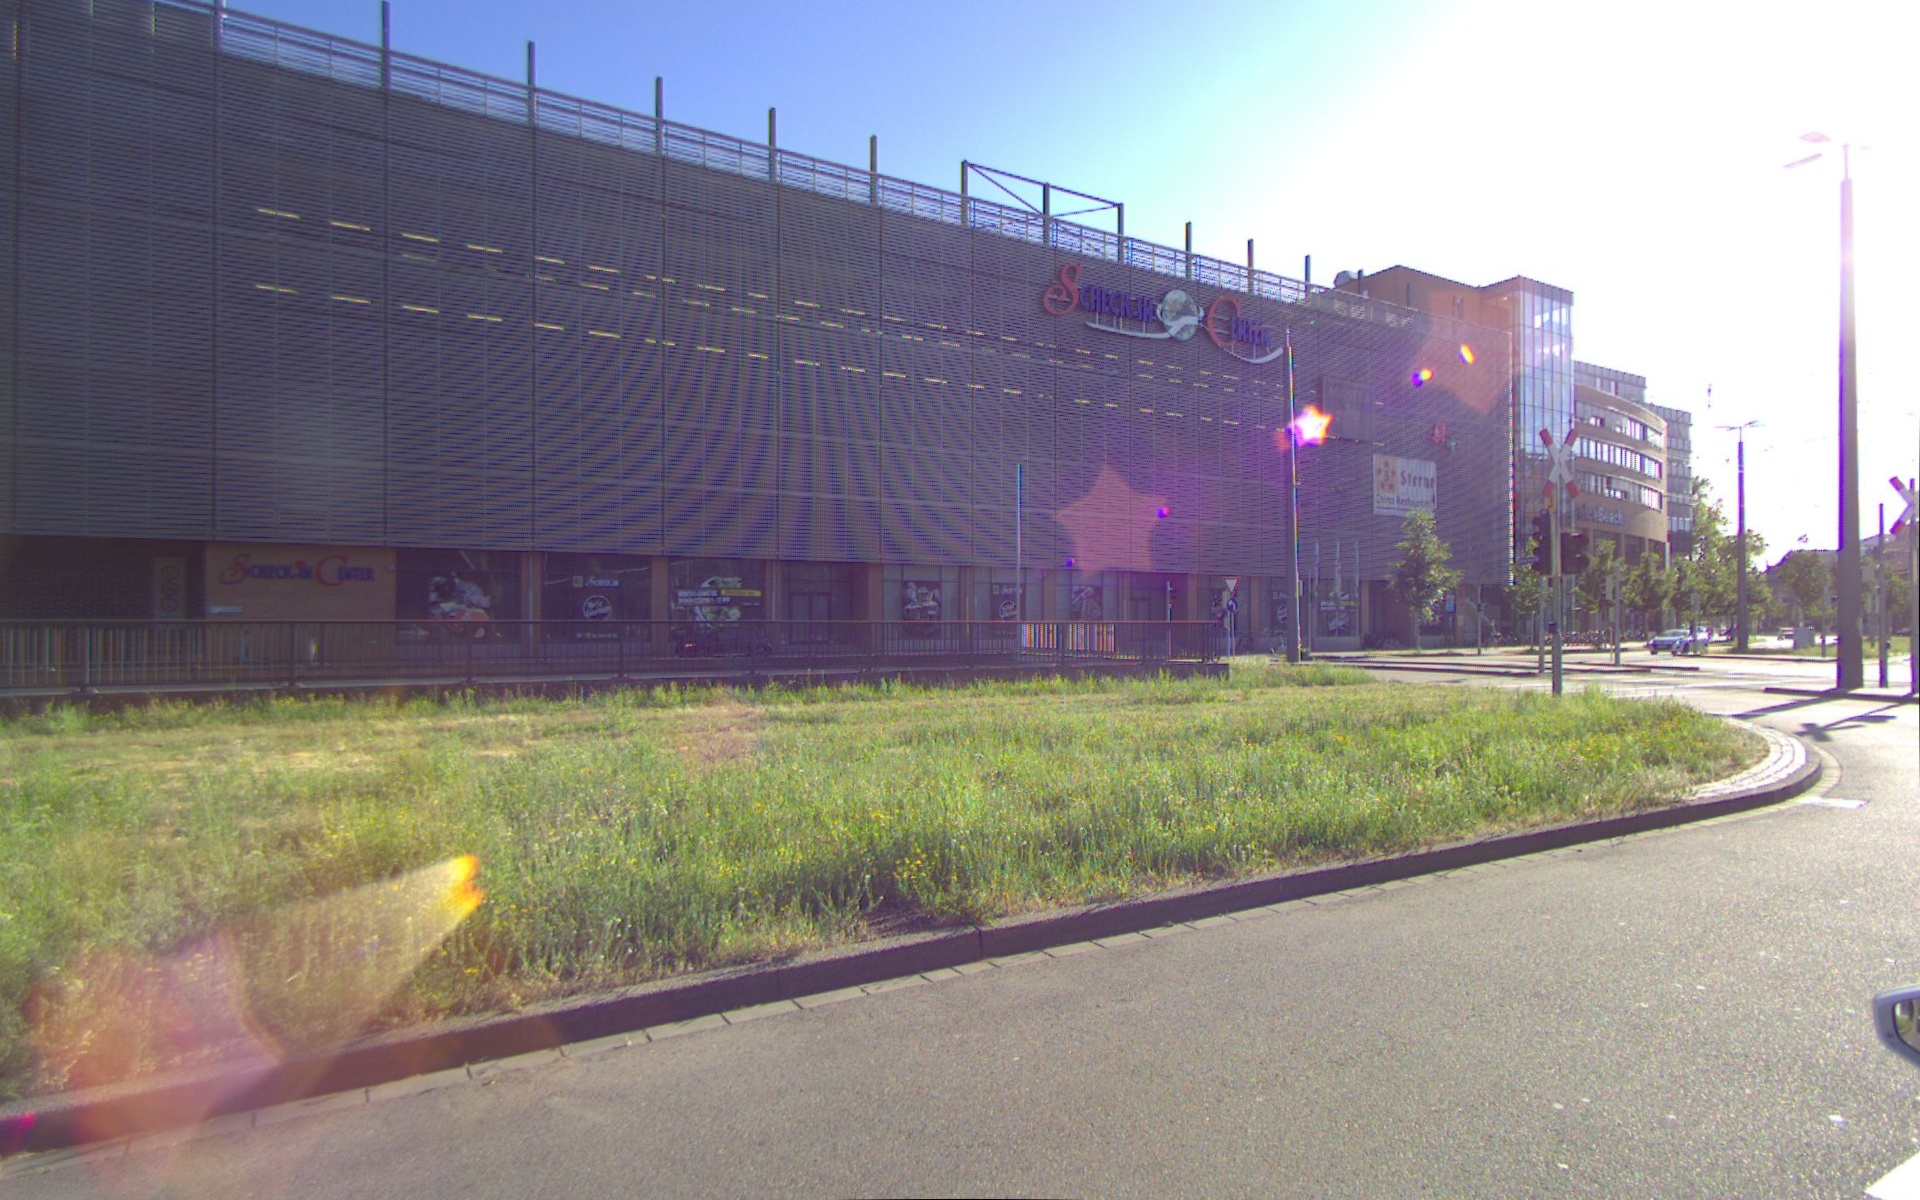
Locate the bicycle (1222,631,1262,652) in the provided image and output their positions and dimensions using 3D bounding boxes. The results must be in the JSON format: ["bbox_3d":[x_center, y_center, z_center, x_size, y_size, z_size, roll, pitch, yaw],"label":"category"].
[{"bbox_3d":[16.581,2.427,59.054,2.384,1.237,0.797,1,-1,-27],"label":"bicycle"}]

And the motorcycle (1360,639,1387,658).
[{"bbox_3d":[27.030,3.170,65.609,1.872,1.255,0.672,2,-3,-31],"label":"motorcycle"}]

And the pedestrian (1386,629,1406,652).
[{"bbox_3d":[30.773,2.861,70.897,0.819,1.586,0.983,2,-3,-30],"label":"pedestrian"}]

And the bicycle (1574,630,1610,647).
[{"bbox_3d":[53.101,3.238,84.455,0.891,1.452,2.558,1,-3,-21],"label":"bicycle"}]

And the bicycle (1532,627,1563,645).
[{"bbox_3d":[47.086,2.891,80.536,0.848,1.452,2.080,1,-2,-21],"label":"bicycle"}]

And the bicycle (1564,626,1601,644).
[{"bbox_3d":[51.383,2.924,82.977,0.891,1.452,2.558,1,-3,-21],"label":"bicycle"}]

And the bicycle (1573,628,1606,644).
[{"bbox_3d":[56.863,3.287,90.812,0.760,1.452,2.603,1,-3,-21],"label":"bicycle"}]

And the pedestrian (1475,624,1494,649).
[{"bbox_3d":[38.619,2.683,73.945,0.894,1.848,0.823,2,-3,-29],"label":"pedestrian"}]

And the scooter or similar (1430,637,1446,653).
[{"bbox_3d":[33.955,3.182,71.360,1.138,1.124,0.419,2,-3,-30],"label":"scooter or similar"}]

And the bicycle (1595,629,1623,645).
[{"bbox_3d":[60.334,3.482,93.344,0.747,1.452,2.135,1,-2,-21],"label":"bicycle"}]

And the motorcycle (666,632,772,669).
[{"bbox_3d":[-10.182,2.102,42.452,3.953,1.472,1.984,0,-1,-30],"label":"motorcycle"}]

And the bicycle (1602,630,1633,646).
[{"bbox_3d":[61.395,3.524,93.821,0.777,1.452,2.417,1,-2,-21],"label":"bicycle"}]

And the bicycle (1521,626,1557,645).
[{"bbox_3d":[46.194,2.847,80.182,1.060,1.452,2.367,1,-2,-21],"label":"bicycle"}]

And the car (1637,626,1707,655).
[{"bbox_3d":[41.251,2.313,58.194,4.486,1.566,1.980,1,-1,-36],"label":"car"}]
